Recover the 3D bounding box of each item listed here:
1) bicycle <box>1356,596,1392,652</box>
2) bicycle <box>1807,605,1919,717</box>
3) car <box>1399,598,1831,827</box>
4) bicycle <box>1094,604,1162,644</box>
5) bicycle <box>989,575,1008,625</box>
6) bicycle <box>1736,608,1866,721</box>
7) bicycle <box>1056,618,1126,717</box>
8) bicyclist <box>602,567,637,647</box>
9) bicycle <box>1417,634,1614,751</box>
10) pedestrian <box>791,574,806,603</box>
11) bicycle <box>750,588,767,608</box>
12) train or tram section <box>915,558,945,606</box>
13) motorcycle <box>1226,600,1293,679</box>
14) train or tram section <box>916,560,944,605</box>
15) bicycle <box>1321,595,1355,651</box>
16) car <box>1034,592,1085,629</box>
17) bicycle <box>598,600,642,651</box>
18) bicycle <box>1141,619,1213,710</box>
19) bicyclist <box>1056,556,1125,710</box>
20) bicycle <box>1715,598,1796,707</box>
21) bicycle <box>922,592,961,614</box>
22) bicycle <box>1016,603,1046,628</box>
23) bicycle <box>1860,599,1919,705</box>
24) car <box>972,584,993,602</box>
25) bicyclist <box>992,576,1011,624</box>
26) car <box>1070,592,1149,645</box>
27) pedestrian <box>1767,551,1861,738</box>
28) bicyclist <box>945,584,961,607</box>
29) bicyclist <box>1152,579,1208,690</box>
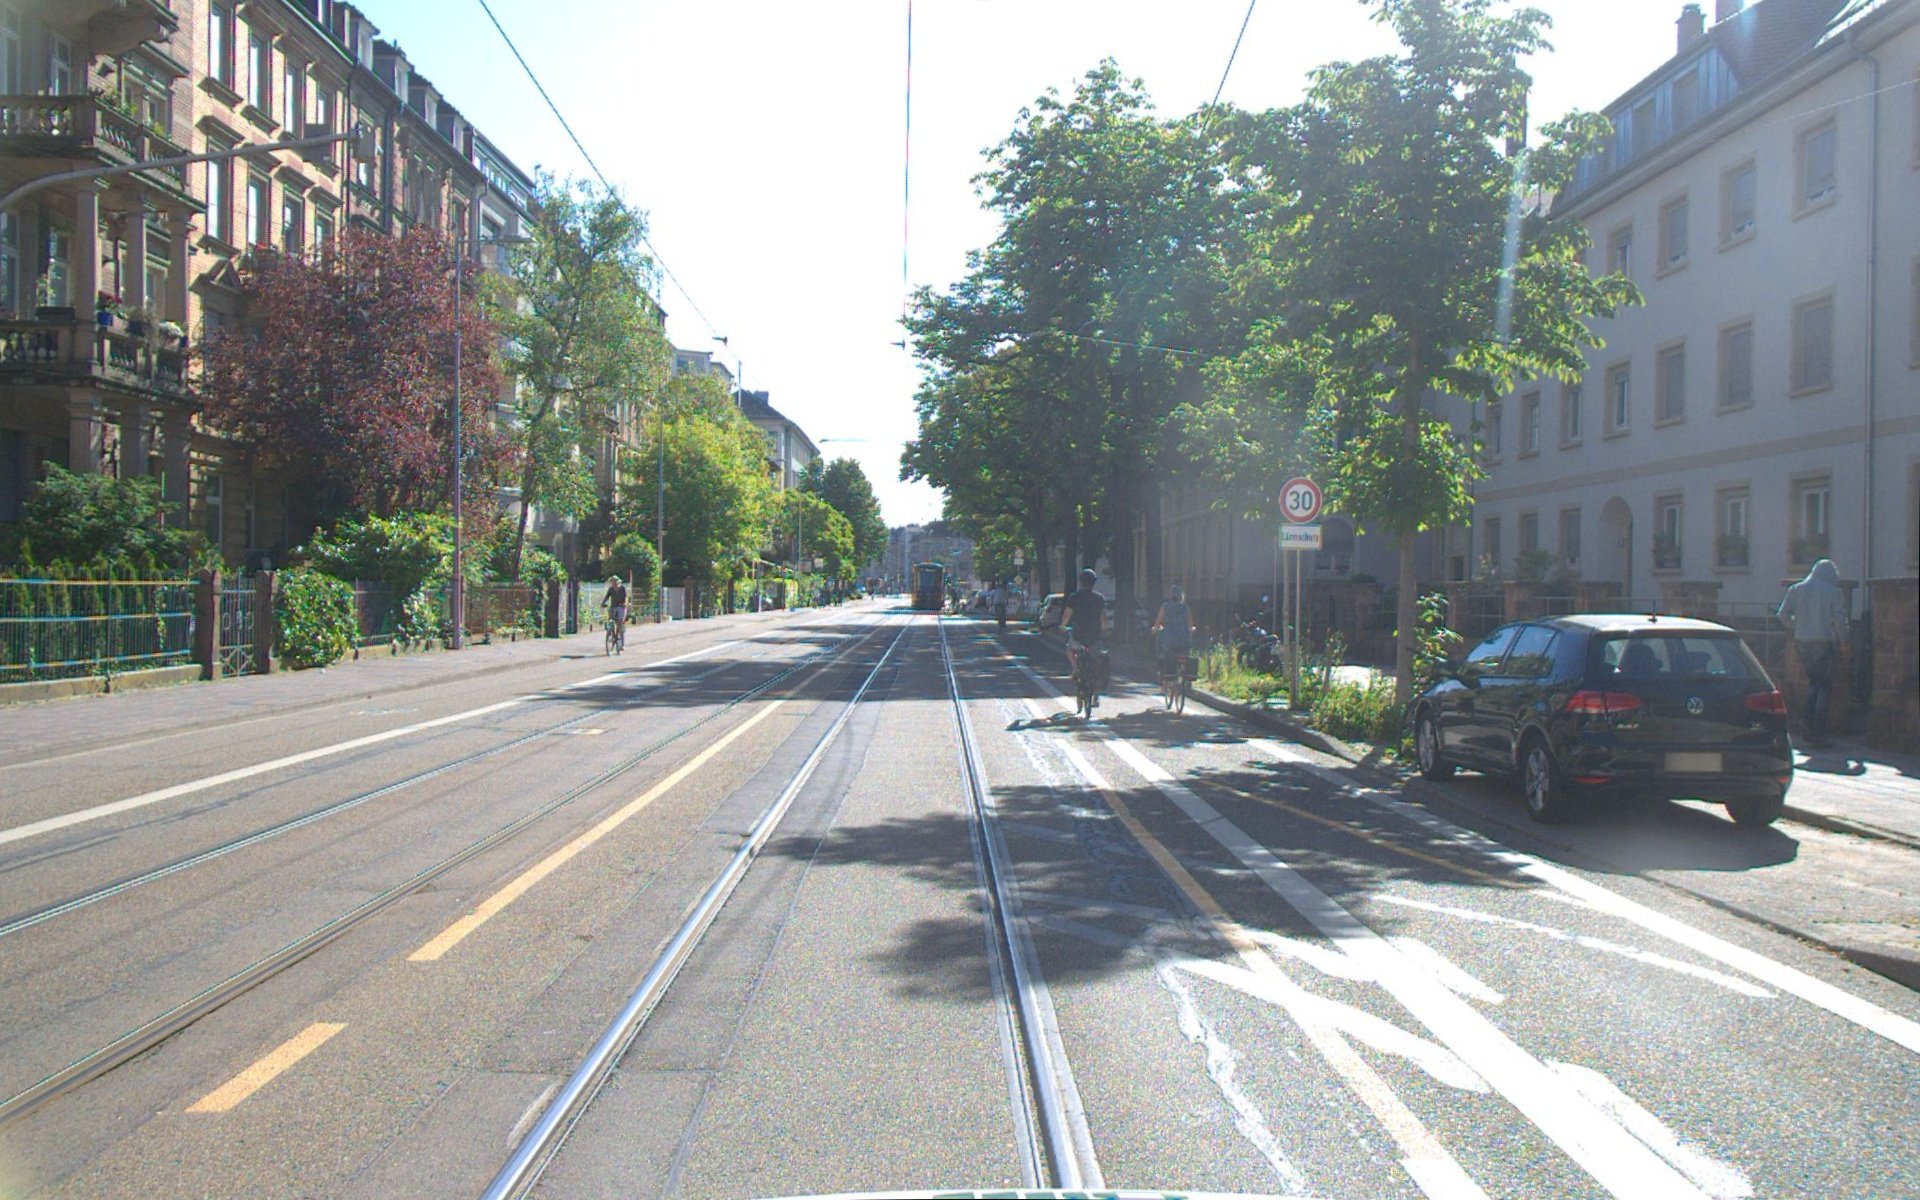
[{"bbox_3d":[9.562,0.541,38.226,0.426,1.244,1.373,2,0,-1],"label":"bicycle"},{"bbox_3d":[10.210,0.659,18.659,0.432,1.173,1.574,2,0,-1],"label":"bicycle"},{"bbox_3d":[4.927,0.753,13.101,1.751,1.489,4.043,0,1,-1],"label":"car"},{"bbox_3d":[4.595,0.643,45.262,1.756,1.037,0.620,-1,0,-2],"label":"bicycle"},{"bbox_3d":[1.498,-0.003,64.615,0.649,1.891,2.260,2,0,0],"label":"bicycle"},{"bbox_3d":[9.435,0.696,18.629,0.439,1.173,1.917,1,0,-1],"label":"bicycle"},{"bbox_3d":[1.634,0.822,20.848,0.678,1.132,1.718,2,0,-1],"label":"bicycle"},{"bbox_3d":[-7.907,0.169,38.407,0.647,1.833,0.616,-1,0,-1],"label":"bicyclist"},{"bbox_3d":[5.493,0.900,16.394,1.758,1.085,0.620,-1,0,-6],"label":"bicycle"},{"bbox_3d":[-9.751,-0.681,99.809,0.754,1.741,0.669,2,0,-1],"label":"pedestrian"},{"bbox_3d":[-11.878,-0.128,97.326,0.623,1.087,1.823,2,0,-18],"label":"bicycle"},{"bbox_3d":[-2.292,-1.370,127.268,2.110,3.491,6.609,2,0,-1],"label":"train or tram section"},{"bbox_3d":[4.955,0.640,27.488,0.486,1.211,1.858,-3,1,-8],"label":"motorcycle"},{"bbox_3d":[-2.433,-1.436,133.904,2.110,3.491,6.609,2,0,-1],"label":"train or tram section"},{"bbox_3d":[8.823,0.526,38.644,0.426,1.244,1.373,2,0,-1],"label":"bicycle"},{"bbox_3d":[4.007,0.411,67.074,1.713,1.445,3.999,0,1,-2],"label":"car"},{"bbox_3d":[-7.912,0.584,38.545,0.677,1.132,1.718,0,0,-1],"label":"bicycle"},{"bbox_3d":[2.983,0.870,22.873,0.678,1.132,1.917,2,0,-1],"label":"bicycle"},{"bbox_3d":[1.641,0.407,20.891,0.713,1.880,0.836,2,0,-2],"label":"bicyclist"},{"bbox_3d":[9.843,0.630,20.496,0.341,1.283,1.426,2,0,3],"label":"bicycle"},{"bbox_3d":[-1.072,0.155,97.250,2.094,1.191,0.803,2,0,14],"label":"bicycle"},{"bbox_3d":[3.115,0.684,72.457,1.243,1.042,0.704,3,-1,7],"label":"bicycle"},{"bbox_3d":[11.056,0.600,18.807,0.533,1.173,1.917,2,0,-1],"label":"bicycle"},{"bbox_3d":[2.055,-0.657,149.828,1.719,1.579,3.676,2,0,-1],"label":"car"},{"bbox_3d":[1.592,-0.015,64.038,0.632,1.827,0.955,2,0,-1],"label":"bicyclist"},{"bbox_3d":[4.324,0.509,48.476,1.596,1.461,4.661,0,1,-4],"label":"car"},{"bbox_3d":[8.326,0.417,16.132,0.748,1.754,0.579,2,0,28],"label":"pedestrian"},{"bbox_3d":[-0.403,-0.237,97.101,0.756,1.313,0.734,2,0,15],"label":"bicyclist"},{"bbox_3d":[3.035,0.472,22.872,0.622,1.493,0.616,2,0,-1],"label":"bicyclist"}]
